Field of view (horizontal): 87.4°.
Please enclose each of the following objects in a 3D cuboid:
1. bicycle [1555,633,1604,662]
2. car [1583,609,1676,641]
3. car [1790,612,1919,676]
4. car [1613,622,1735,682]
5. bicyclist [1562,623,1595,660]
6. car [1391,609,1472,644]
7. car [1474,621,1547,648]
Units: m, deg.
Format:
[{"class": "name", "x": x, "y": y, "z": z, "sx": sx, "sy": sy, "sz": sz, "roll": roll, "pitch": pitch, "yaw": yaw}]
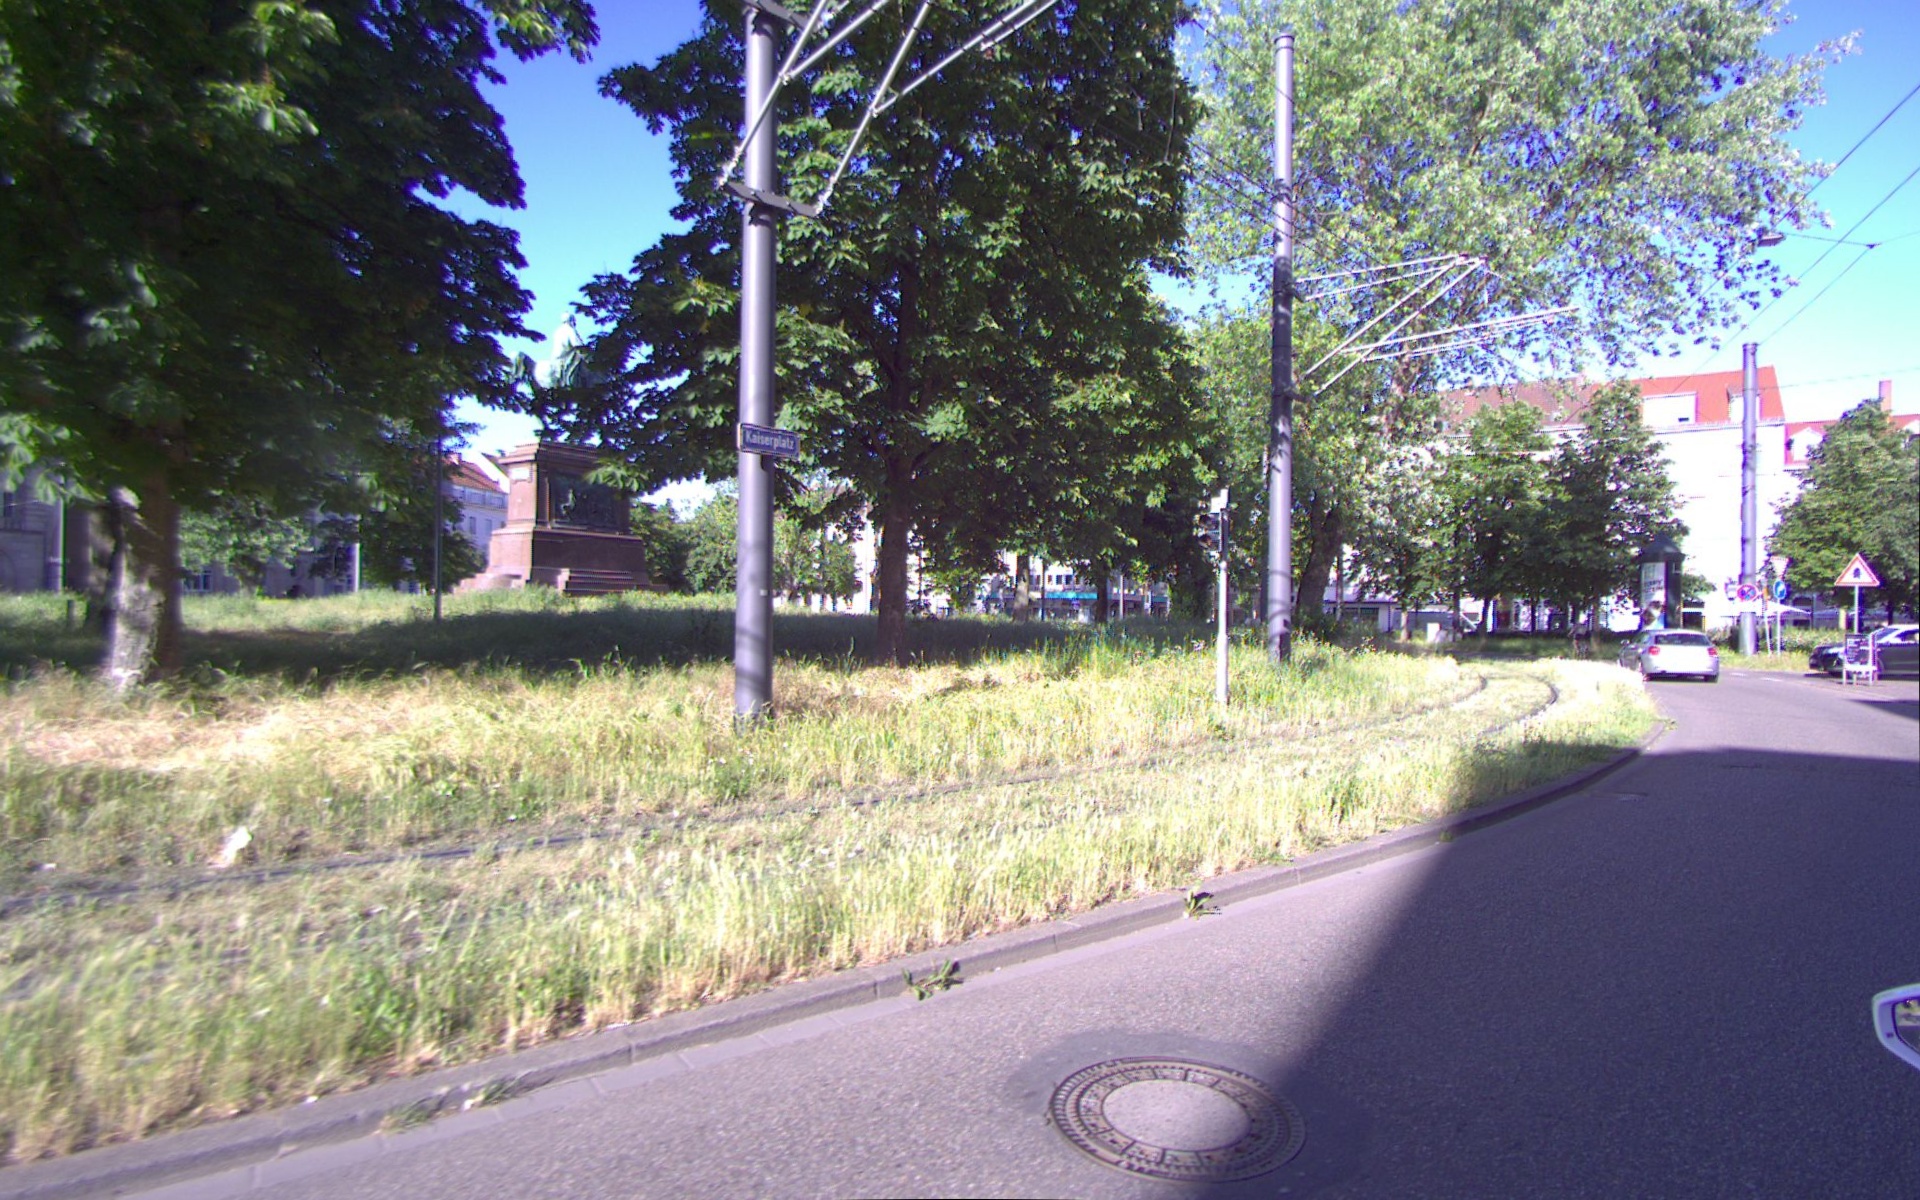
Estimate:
[{"class": "bicycle", "x": 26.464, "y": 2.013, "z": 42.984, "sx": 0.796, "sy": 1.083, "sz": 2.585, "roll": 3, "pitch": 0, "yaw": 9}, {"class": "car", "x": 49.231, "y": 1.824, "z": 74.049, "sx": 5.495, "sy": 2.040, "sz": 1.814, "roll": 3, "pitch": 0, "yaw": 31}, {"class": "car", "x": 26.426, "y": 1.268, "z": 28.663, "sx": 3.795, "sy": 1.704, "sz": 1.812, "roll": 1, "pitch": -1, "yaw": 21}, {"class": "car", "x": 19.924, "y": 1.407, "z": 28.211, "sx": 1.962, "sy": 1.442, "sz": 4.194, "roll": 3, "pitch": 0, "yaw": 24}, {"class": "bicyclist", "x": 26.507, "y": 1.772, "z": 43.056, "sx": 0.913, "sy": 1.527, "sz": 0.826, "roll": 3, "pitch": 0, "yaw": 9}, {"class": "car", "x": 35.948, "y": 2.012, "z": 76.628, "sx": 5.263, "sy": 2.344, "sz": 1.994, "roll": 3, "pitch": 0, "yaw": 34}, {"class": "car", "x": 42.877, "y": 2.687, "z": 78.262, "sx": 4.792, "sy": 1.828, "sz": 1.903, "roll": 3, "pitch": 0, "yaw": 35}]
